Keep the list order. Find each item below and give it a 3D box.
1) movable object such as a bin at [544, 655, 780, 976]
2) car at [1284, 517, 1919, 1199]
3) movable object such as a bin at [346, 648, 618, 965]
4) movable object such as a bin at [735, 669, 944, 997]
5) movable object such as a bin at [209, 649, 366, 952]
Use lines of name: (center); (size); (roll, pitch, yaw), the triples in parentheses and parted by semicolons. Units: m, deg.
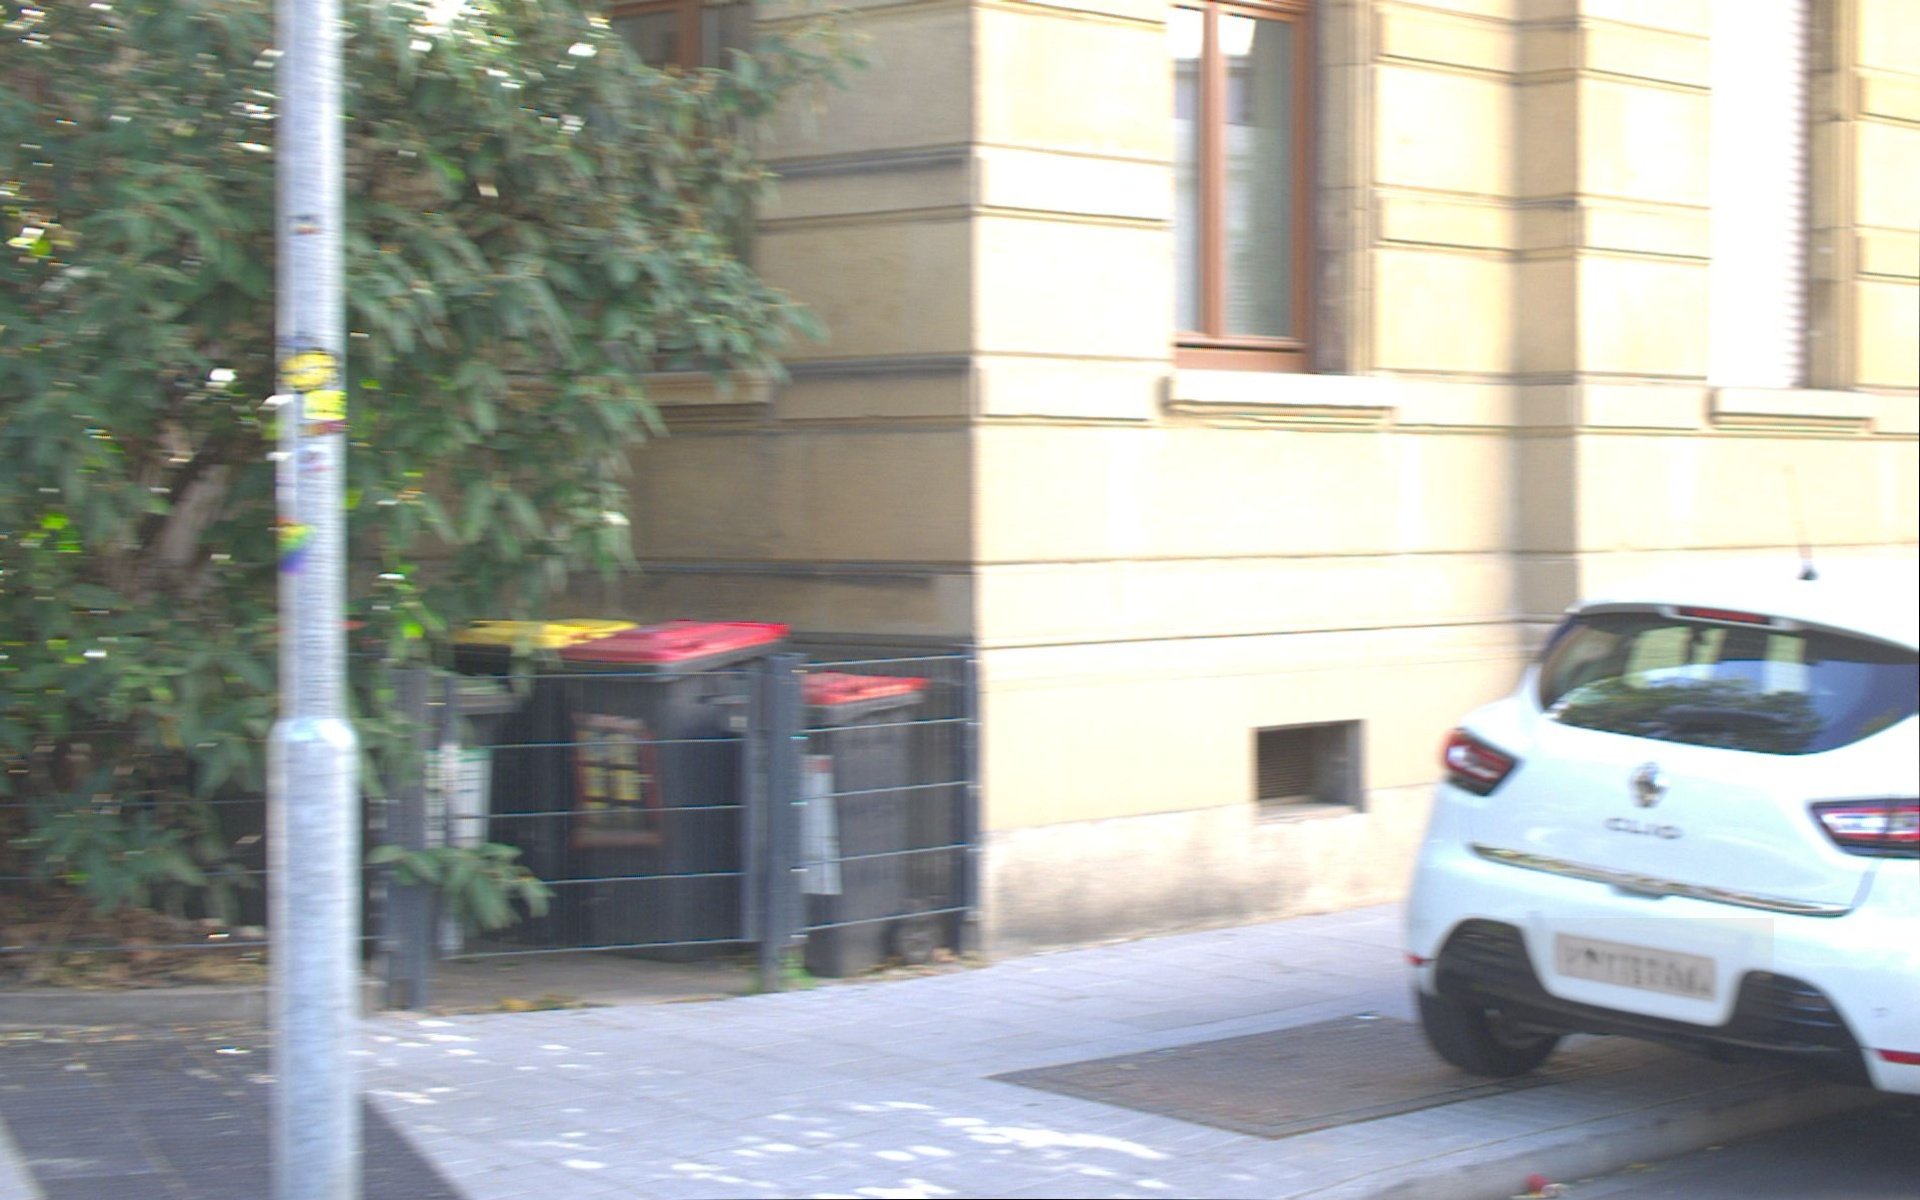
movable object such as a bin: (-0.959, 0.677, 11.072); (0.547, 0.967, 0.519); (1, 2, 43)
car: (2.869, 0.590, 9.683); (1.872, 1.555, 3.932); (4, 3, 42)
movable object such as a bin: (-1.572, 0.659, 11.318); (0.547, 0.967, 0.688); (1, 2, 43)
movable object such as a bin: (-0.376, 0.717, 10.788); (0.398, 0.967, 0.519); (1, 2, 43)
movable object such as a bin: (-2.242, 0.658, 11.466); (0.382, 0.967, 0.344); (1, 2, 43)
